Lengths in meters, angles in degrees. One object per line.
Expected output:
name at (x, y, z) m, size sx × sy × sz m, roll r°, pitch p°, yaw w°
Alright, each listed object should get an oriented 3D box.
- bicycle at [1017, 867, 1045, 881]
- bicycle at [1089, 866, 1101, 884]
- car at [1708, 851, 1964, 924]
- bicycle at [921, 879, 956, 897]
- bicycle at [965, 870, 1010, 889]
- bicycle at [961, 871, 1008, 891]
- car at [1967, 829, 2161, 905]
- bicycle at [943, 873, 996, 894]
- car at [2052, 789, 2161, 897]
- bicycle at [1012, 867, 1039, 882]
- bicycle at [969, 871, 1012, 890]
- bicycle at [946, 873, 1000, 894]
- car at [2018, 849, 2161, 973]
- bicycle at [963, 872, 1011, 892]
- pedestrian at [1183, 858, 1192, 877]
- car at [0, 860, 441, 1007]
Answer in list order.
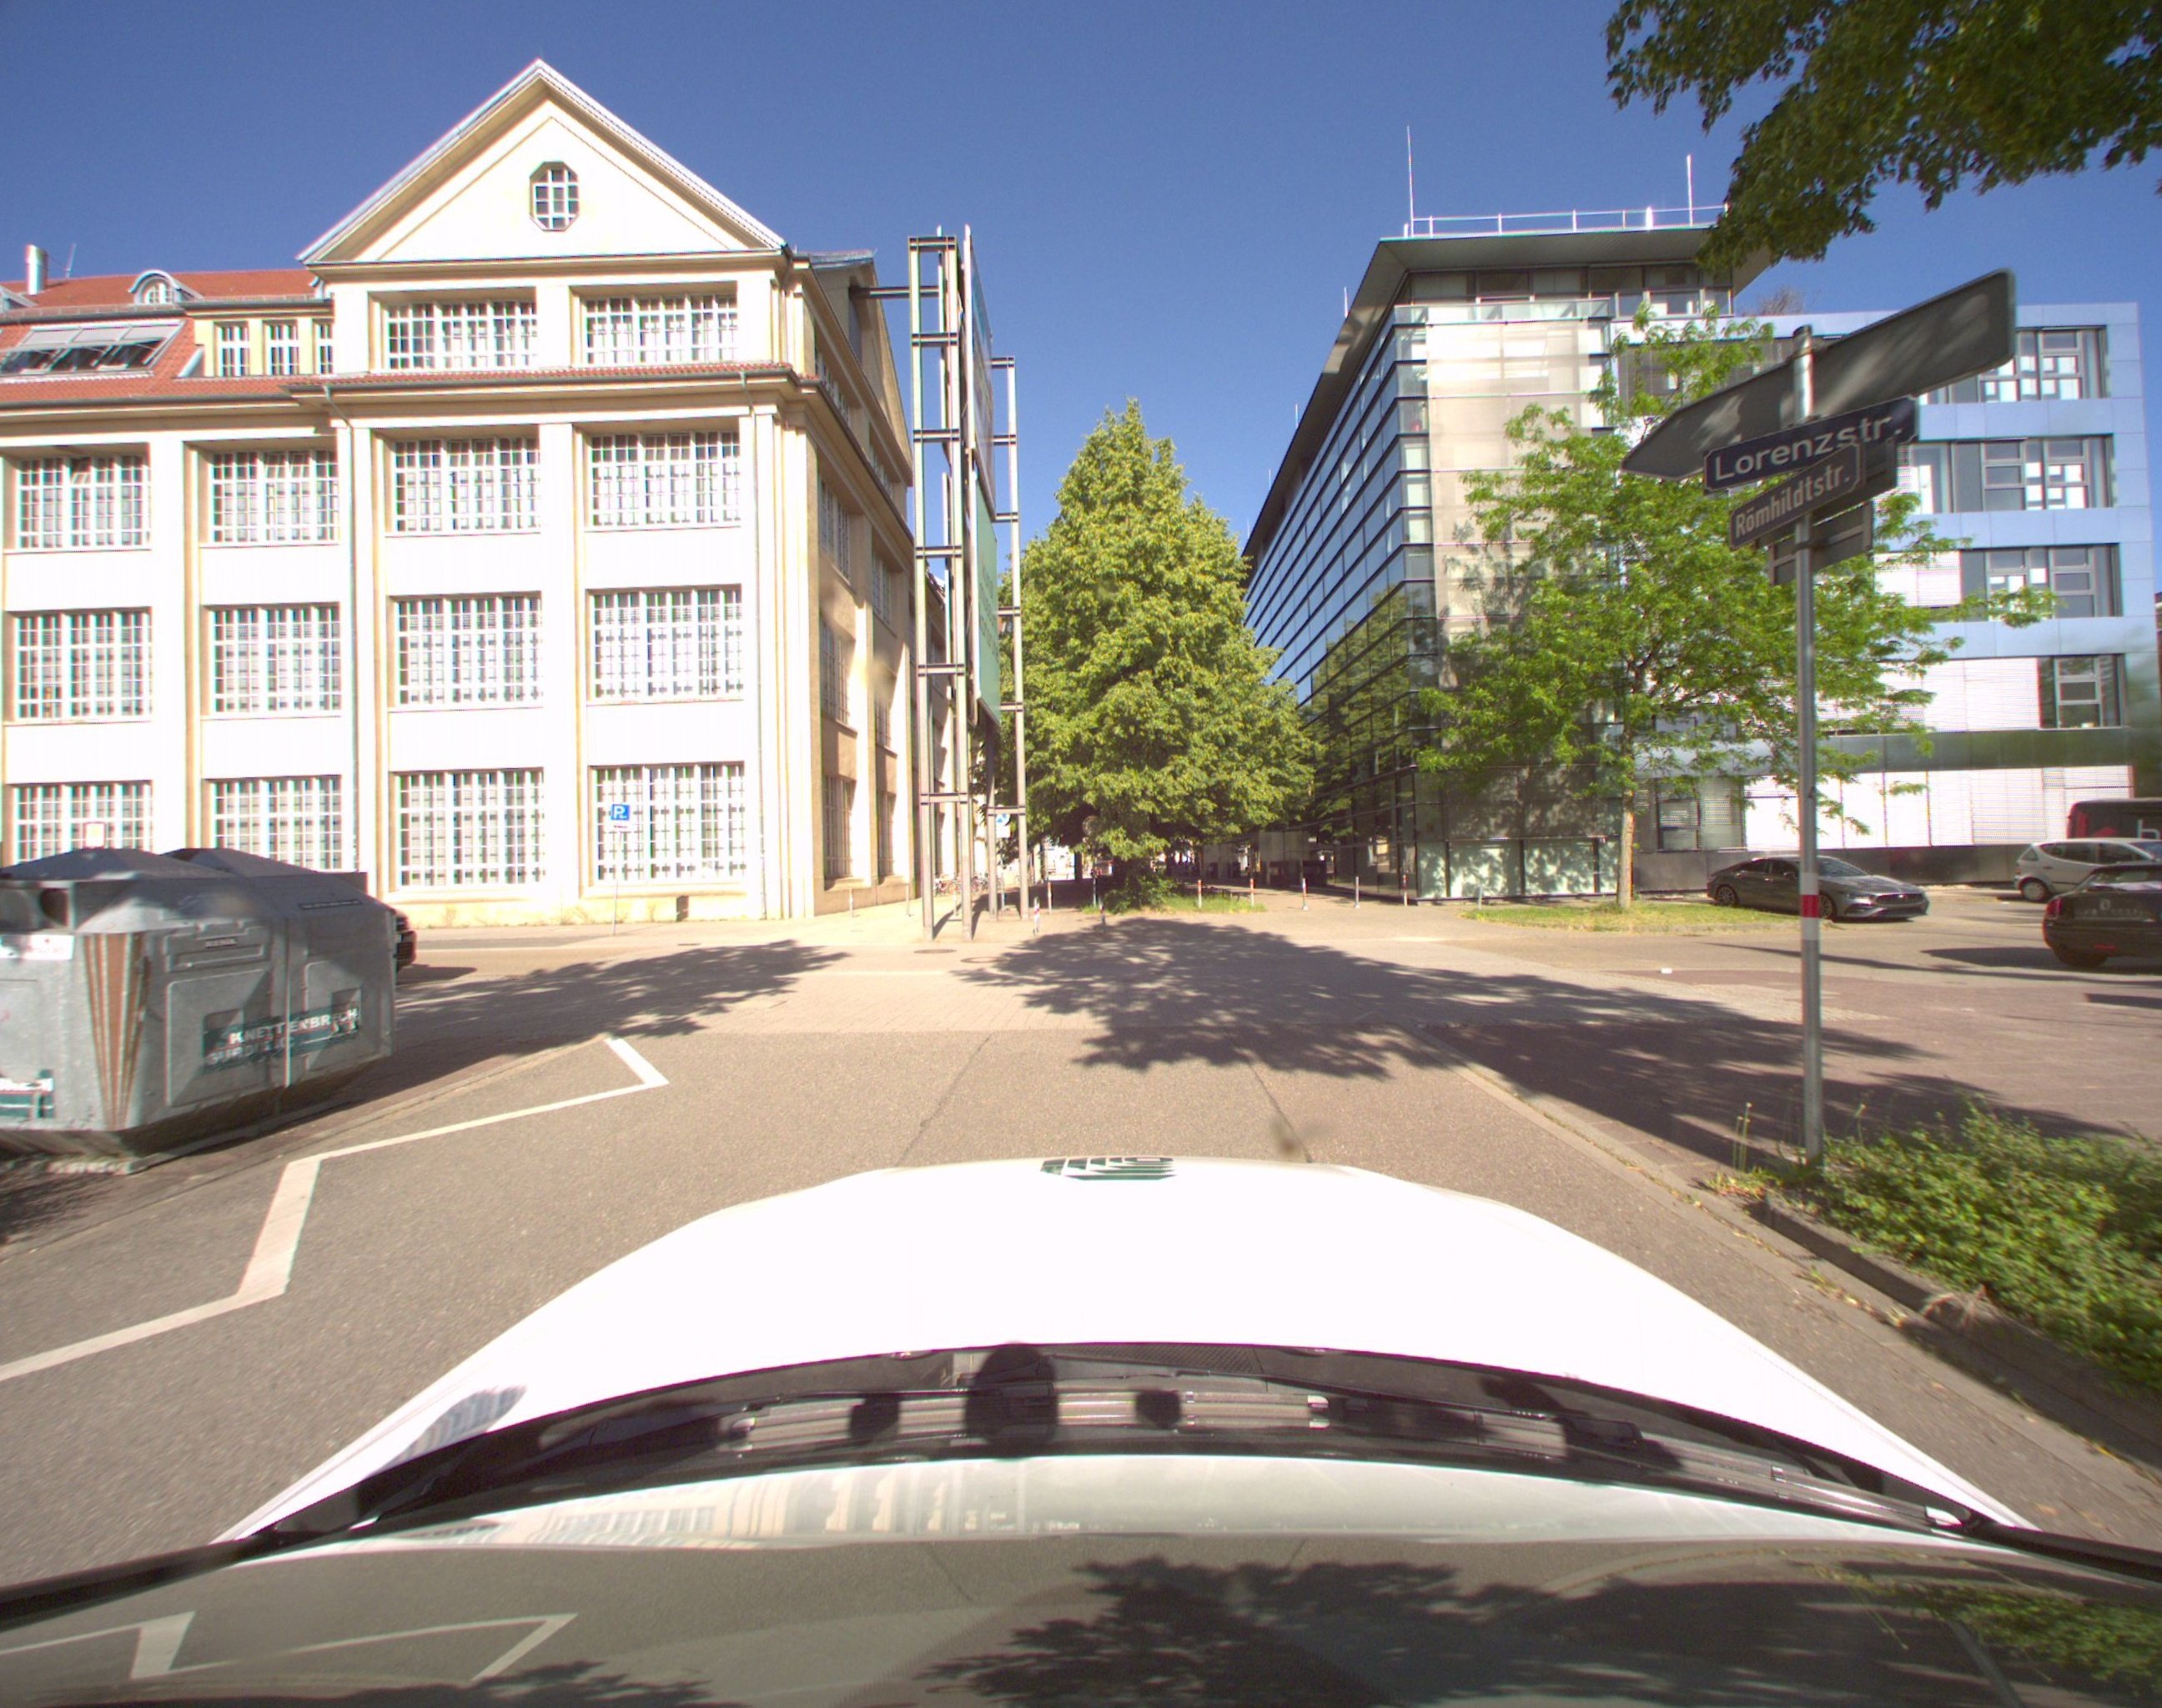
bicycle at (-3.930, 1.550, 64.111) m, size 2.049 × 1.066 × 0.507 m, roll -2°, pitch -1°, yaw 3°
bicycle at (0.973, 1.475, 57.458) m, size 0.618 × 1.197 × 2.129 m, roll -2°, pitch -1°, yaw -3°
car at (17.346, 0.688, 19.090) m, size 1.879 × 1.350 × 4.552 m, roll -1°, pitch 2°, yaw 1°
bicycle at (-7.111, 1.694, 40.729) m, size 0.773 × 0.792 × 2.892 m, roll -2°, pitch 0°, yaw 10°
bicycle at (-5.968, 1.642, 52.090) m, size 2.725 × 1.151 × 0.718 m, roll -1°, pitch -1°, yaw -3°
bicycle at (-5.985, 1.650, 50.579) m, size 2.794 × 1.151 × 0.718 m, roll -2°, pitch -1°, yaw -3°
car at (24.772, 0.229, 19.977) m, size 1.881 × 1.645 × 3.842 m, roll -2°, pitch 2°, yaw -1°
bicycle at (-6.204, 1.636, 45.393) m, size 2.790 × 1.063 × 0.719 m, roll -1°, pitch -1°, yaw 1°
car at (27.257, -0.283, 19.224) m, size 2.216 × 2.622 × 5.475 m, roll -2°, pitch 1°, yaw 2°
bicycle at (-4.319, 1.581, 63.465) m, size 2.049 × 1.066 × 0.507 m, roll -2°, pitch -1°, yaw 3°
bicycle at (-5.855, 1.710, 52.877) m, size 2.725 × 1.151 × 0.718 m, roll -1°, pitch -1°, yaw -3°
bicycle at (-5.808, 1.583, 43.772) m, size 2.794 × 1.063 × 0.718 m, roll -1°, pitch -1°, yaw -3°
car at (14.741, 0.656, 10.327) m, size 3.739 × 1.472 × 1.657 m, roll -1°, pitch -2°, yaw 0°
bicycle at (-5.565, 1.666, 48.325) m, size 2.794 × 1.063 × 0.718 m, roll -1°, pitch -1°, yaw -3°
pedestrian at (9.056, 1.162, 69.226) m, size 0.712 × 1.550 × 0.692 m, roll -2°, pitch -1°, yaw 8°
car at (-11.417, 0.995, 10.951) m, size 4.073 × 1.696 × 2.001 m, roll -2°, pitch -1°, yaw 3°
